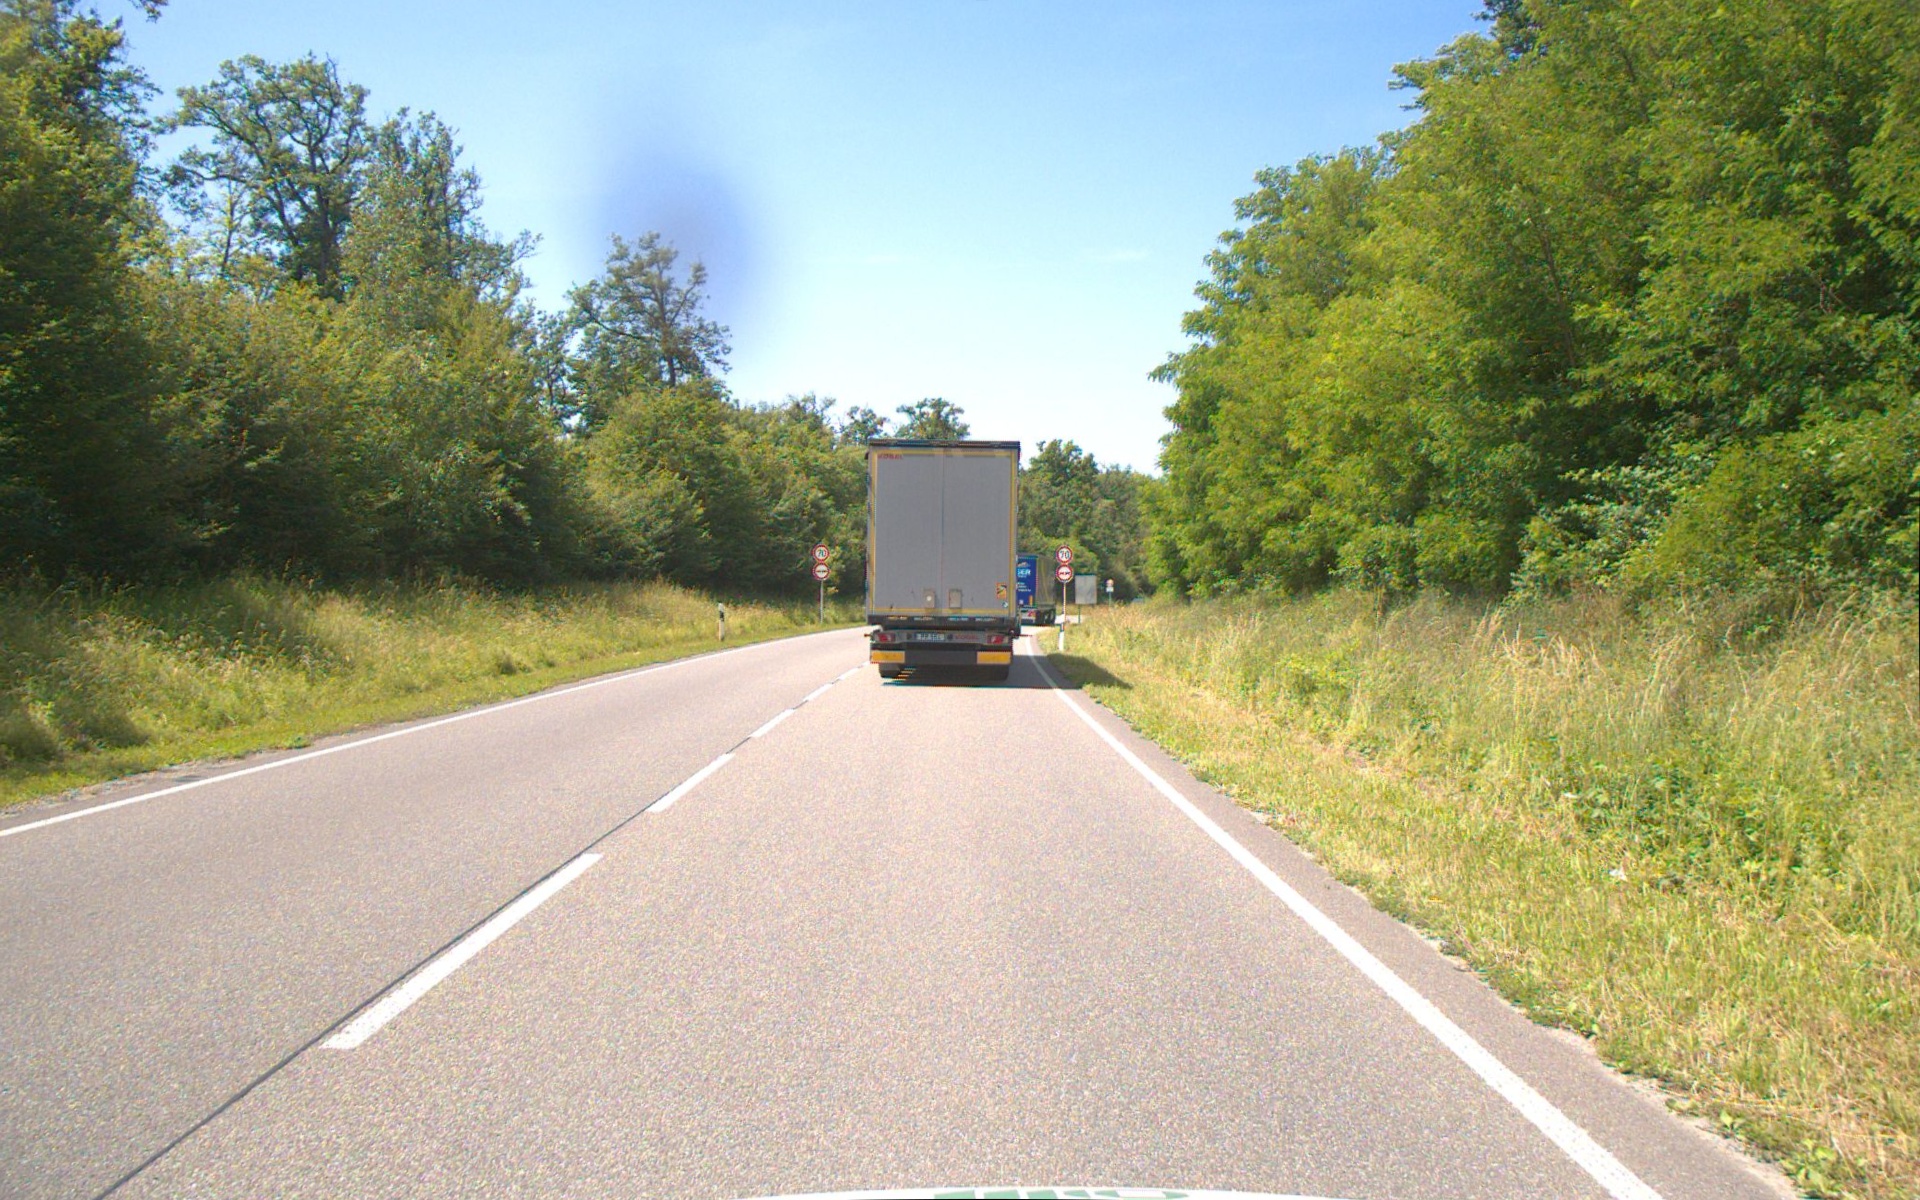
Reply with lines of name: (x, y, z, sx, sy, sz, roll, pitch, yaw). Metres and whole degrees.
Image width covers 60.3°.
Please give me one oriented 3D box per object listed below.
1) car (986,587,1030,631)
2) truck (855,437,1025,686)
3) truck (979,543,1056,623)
car: (1.968, 0.364, 67.642, 1.733, 1.738, 4.001, 0, 0, 2)
truck: (-0.359, -0.672, 33.156, 2.705, 4.016, 12.196, 1, 0, 0)
truck: (3.638, -0.990, 100.305, 3.713, 4.449, 14.930, 0, 0, 6)
